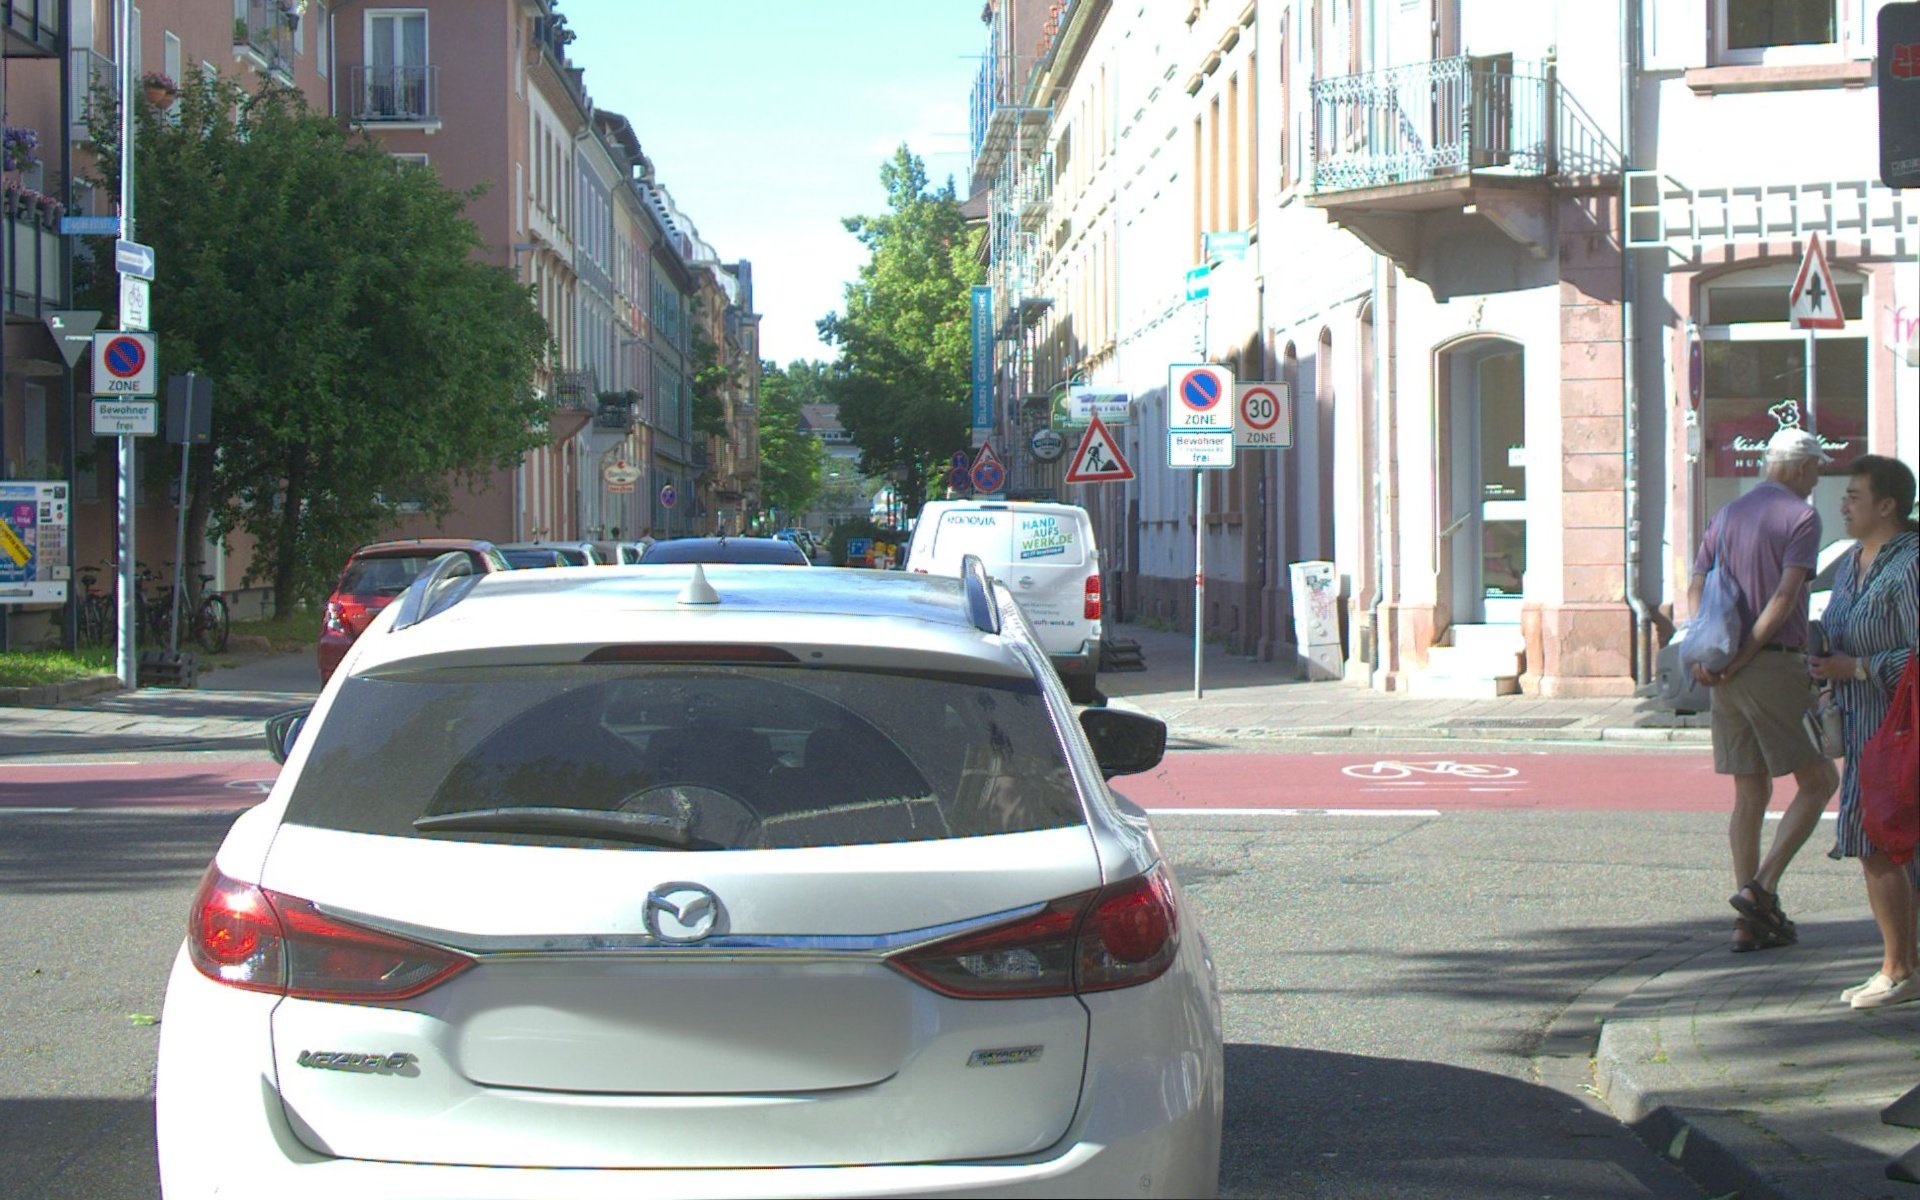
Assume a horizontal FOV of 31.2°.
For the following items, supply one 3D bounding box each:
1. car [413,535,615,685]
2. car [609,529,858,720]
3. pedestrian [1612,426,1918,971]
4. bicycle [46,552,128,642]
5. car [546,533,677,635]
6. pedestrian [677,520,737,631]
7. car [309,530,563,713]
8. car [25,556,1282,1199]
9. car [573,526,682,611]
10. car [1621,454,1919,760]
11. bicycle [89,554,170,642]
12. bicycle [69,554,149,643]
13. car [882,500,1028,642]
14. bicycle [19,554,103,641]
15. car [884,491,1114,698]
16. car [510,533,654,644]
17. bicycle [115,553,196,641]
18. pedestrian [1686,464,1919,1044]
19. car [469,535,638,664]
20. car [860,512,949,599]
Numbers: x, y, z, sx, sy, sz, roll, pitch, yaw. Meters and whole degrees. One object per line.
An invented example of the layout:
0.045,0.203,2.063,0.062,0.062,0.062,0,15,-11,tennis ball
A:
-4.692,0.060,36.612,1.653,1.495,4.080,0,1,-1,car
-1.738,0.138,27.576,1.760,1.405,4.328,0,1,-1,car
2.736,0.318,11.757,0.749,1.758,0.831,-3,1,-1,pedestrian
-10.559,-0.039,41.573,1.215,1.068,0.265,1,1,38,bicycle
-5.294,-0.265,52.570,1.653,1.495,3.763,0,1,-1,car
-3.698,-0.363,50.301,0.733,1.608,0.816,-1,1,-13,pedestrian
-4.595,0.144,30.596,1.685,1.495,3.807,-1,1,-1,car
-0.471,0.657,7.018,1.831,1.452,3.962,0,1,-1,car
-6.030,-0.594,62.678,1.653,1.495,3.763,0,1,-1,car
7.024,0.025,22.484,5.015,1.939,2.049,0,1,22,car
-10.162,-0.029,42.055,1.215,1.068,0.253,1,1,38,bicycle
-10.354,-0.019,41.817,1.215,1.067,0.253,1,1,38,bicycle
-0.089,-0.423,46.935,1.894,1.853,3.995,0,1,-1,car
-10.796,-0.036,41.276,1.215,1.032,0.290,1,1,38,bicycle
0.305,-0.100,34.285,1.894,1.853,5.015,2,1,-3,car
-5.277,-0.190,48.364,1.653,1.495,3.763,0,1,-1,car
-9.877,-0.043,42.210,1.218,1.068,0.253,1,1,38,bicycle
2.688,0.406,9.942,0.844,1.568,0.846,-6,0,-1,pedestrian
-4.904,-0.044,41.877,1.653,1.495,3.763,0,1,-1,car
-1.210,-0.998,75.423,1.894,1.853,3.995,0,1,-1,car
